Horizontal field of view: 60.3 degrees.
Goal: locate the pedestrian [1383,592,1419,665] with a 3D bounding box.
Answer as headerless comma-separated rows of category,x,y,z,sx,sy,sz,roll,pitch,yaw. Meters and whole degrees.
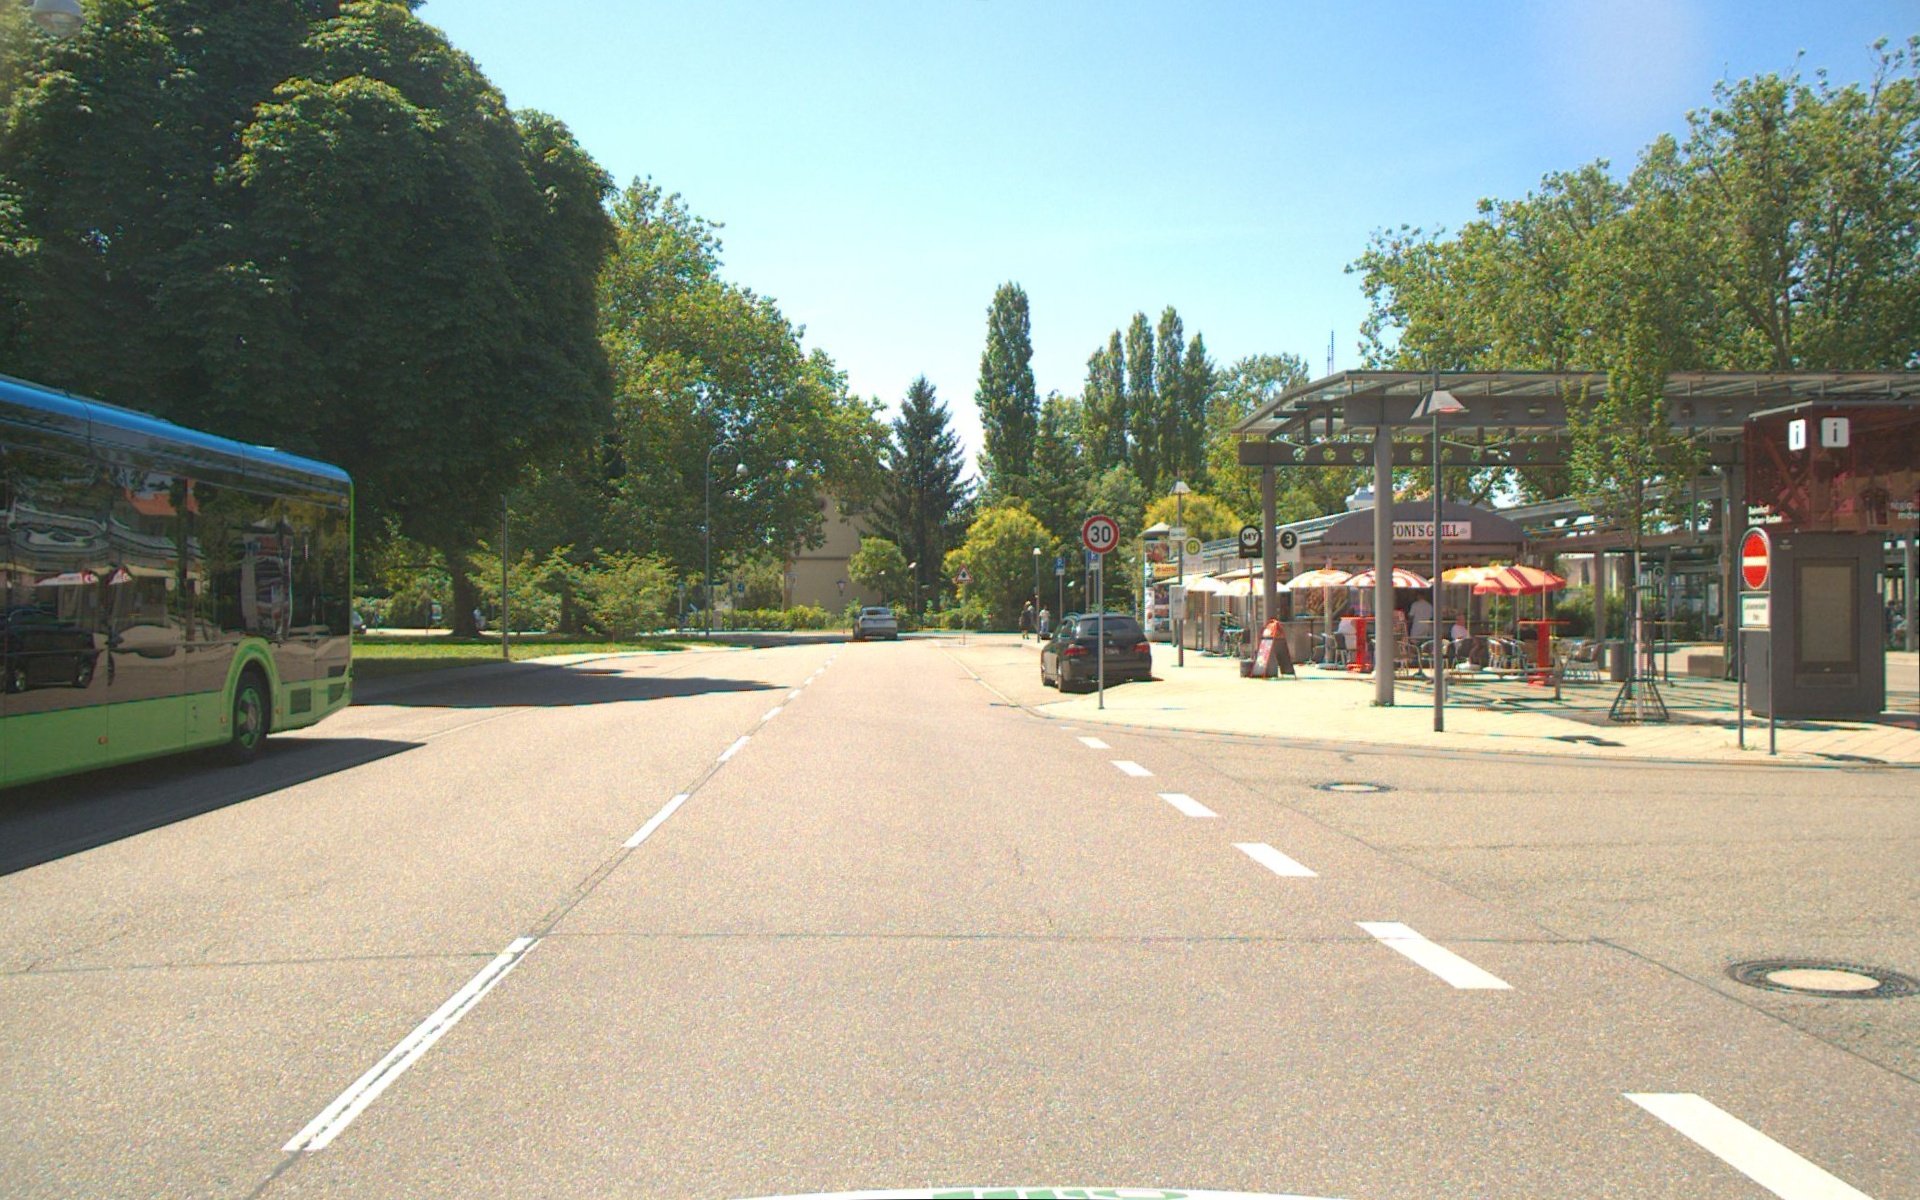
pedestrian,10.871,0.694,40.778,0.672,1.768,0.707,0,-1,-3

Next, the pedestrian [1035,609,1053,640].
pedestrian,4.504,1.314,88.706,0.706,1.678,0.750,0,-3,25

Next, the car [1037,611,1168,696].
car,2.776,1.011,33.189,1.889,1.486,4.721,-3,0,-4

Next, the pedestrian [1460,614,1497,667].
pedestrian,12.314,0.952,39.308,0.642,1.226,0.592,2,-2,-3

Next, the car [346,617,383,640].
car,-38.839,1.823,107.990,1.521,1.435,3.795,0,0,-8

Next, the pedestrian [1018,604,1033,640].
pedestrian,3.714,1.245,94.096,0.837,2.000,0.806,0,-1,-1

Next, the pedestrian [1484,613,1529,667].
pedestrian,12.678,0.924,38.398,0.744,1.226,0.736,2,-2,-3

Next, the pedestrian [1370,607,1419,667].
pedestrian,9.806,0.816,37.362,0.885,1.335,0.679,0,-1,-38

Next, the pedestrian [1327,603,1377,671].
pedestrian,8.459,0.792,35.696,0.887,1.442,0.678,0,-1,-40

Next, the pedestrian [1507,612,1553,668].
pedestrian,12.791,0.899,37.135,0.744,1.226,0.736,2,-2,-3

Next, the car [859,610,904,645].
car,-3.934,1.356,83.264,1.942,1.655,4.779,0,0,1

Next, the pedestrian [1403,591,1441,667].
pedestrian,10.950,0.685,39.223,0.672,1.768,0.707,0,-1,-3

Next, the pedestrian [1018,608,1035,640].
pedestrian,3.496,1.273,87.200,0.623,1.678,0.750,0,-3,25

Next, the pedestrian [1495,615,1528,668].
pedestrian,13.115,0.981,39.343,0.641,1.226,0.593,2,-2,13

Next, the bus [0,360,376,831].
bus,-8.305,-0.023,14.203,2.753,3.340,12.417,0,0,-3

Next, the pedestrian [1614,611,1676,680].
pedestrian,13.050,0.853,31.542,0.828,1.300,0.895,0,-1,1

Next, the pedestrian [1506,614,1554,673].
pedestrian,11.469,0.864,33.323,0.672,1.181,0.895,0,-1,1

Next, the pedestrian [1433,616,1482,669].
pedestrian,11.241,0.943,37.338,0.885,1.181,0.679,0,-1,-38
